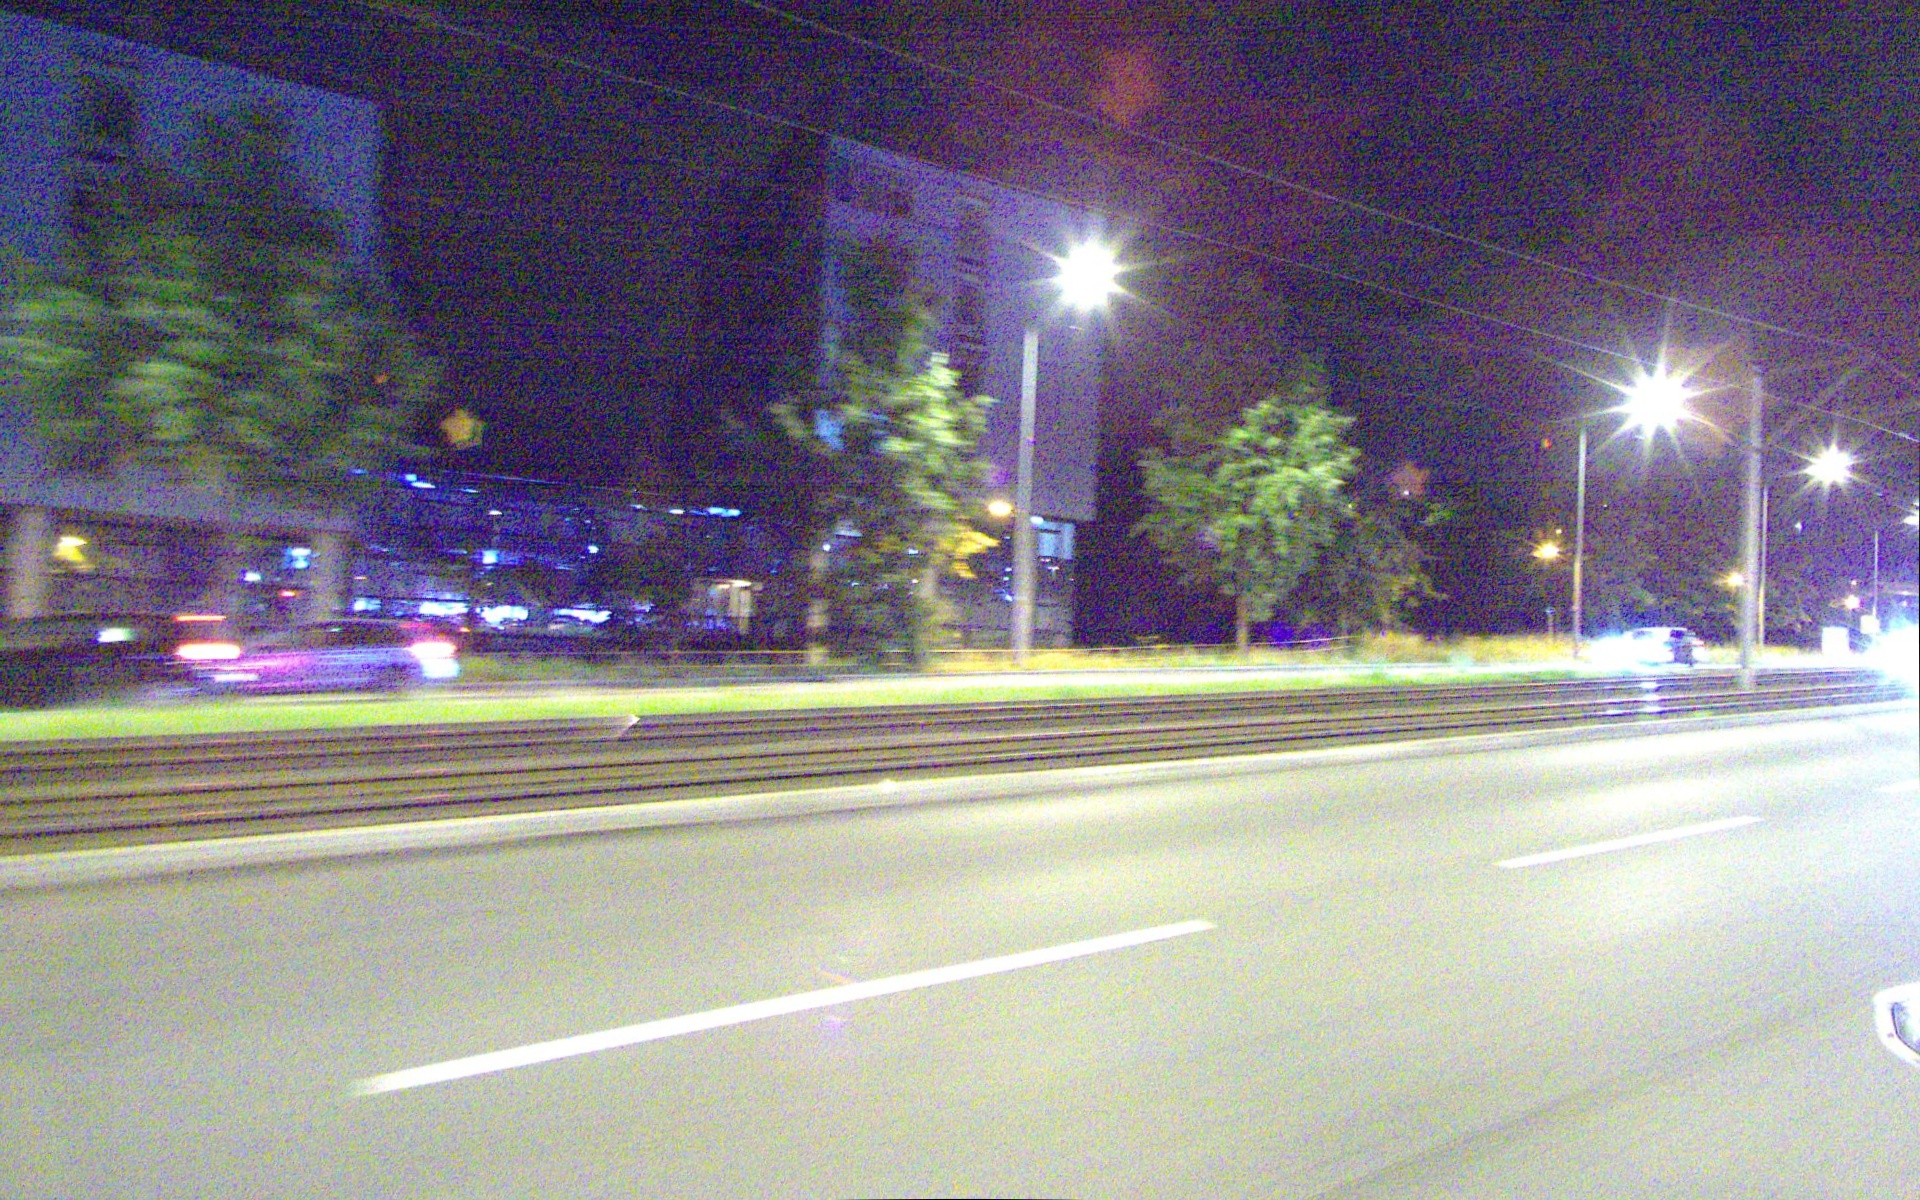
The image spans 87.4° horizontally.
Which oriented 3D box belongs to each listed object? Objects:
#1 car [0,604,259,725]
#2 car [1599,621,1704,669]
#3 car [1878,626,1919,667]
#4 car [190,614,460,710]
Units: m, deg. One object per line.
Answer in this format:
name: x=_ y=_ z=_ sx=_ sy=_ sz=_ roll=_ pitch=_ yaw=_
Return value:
car: x=-12.263 y=0.855 z=13.802 sx=4.127 sy=1.517 sz=1.775 roll=3 pitch=-1 yaw=-31
car: x=27.040 y=1.758 z=39.260 sx=4.178 sy=1.736 sz=1.771 roll=2 pitch=-1 yaw=-31
car: x=64.917 y=3.211 z=68.433 sx=6.896 sy=2.705 sz=2.131 roll=3 pitch=-4 yaw=-36
car: x=-11.108 y=1.077 z=17.877 sx=3.863 sy=1.536 sz=1.653 roll=2 pitch=-1 yaw=-29
